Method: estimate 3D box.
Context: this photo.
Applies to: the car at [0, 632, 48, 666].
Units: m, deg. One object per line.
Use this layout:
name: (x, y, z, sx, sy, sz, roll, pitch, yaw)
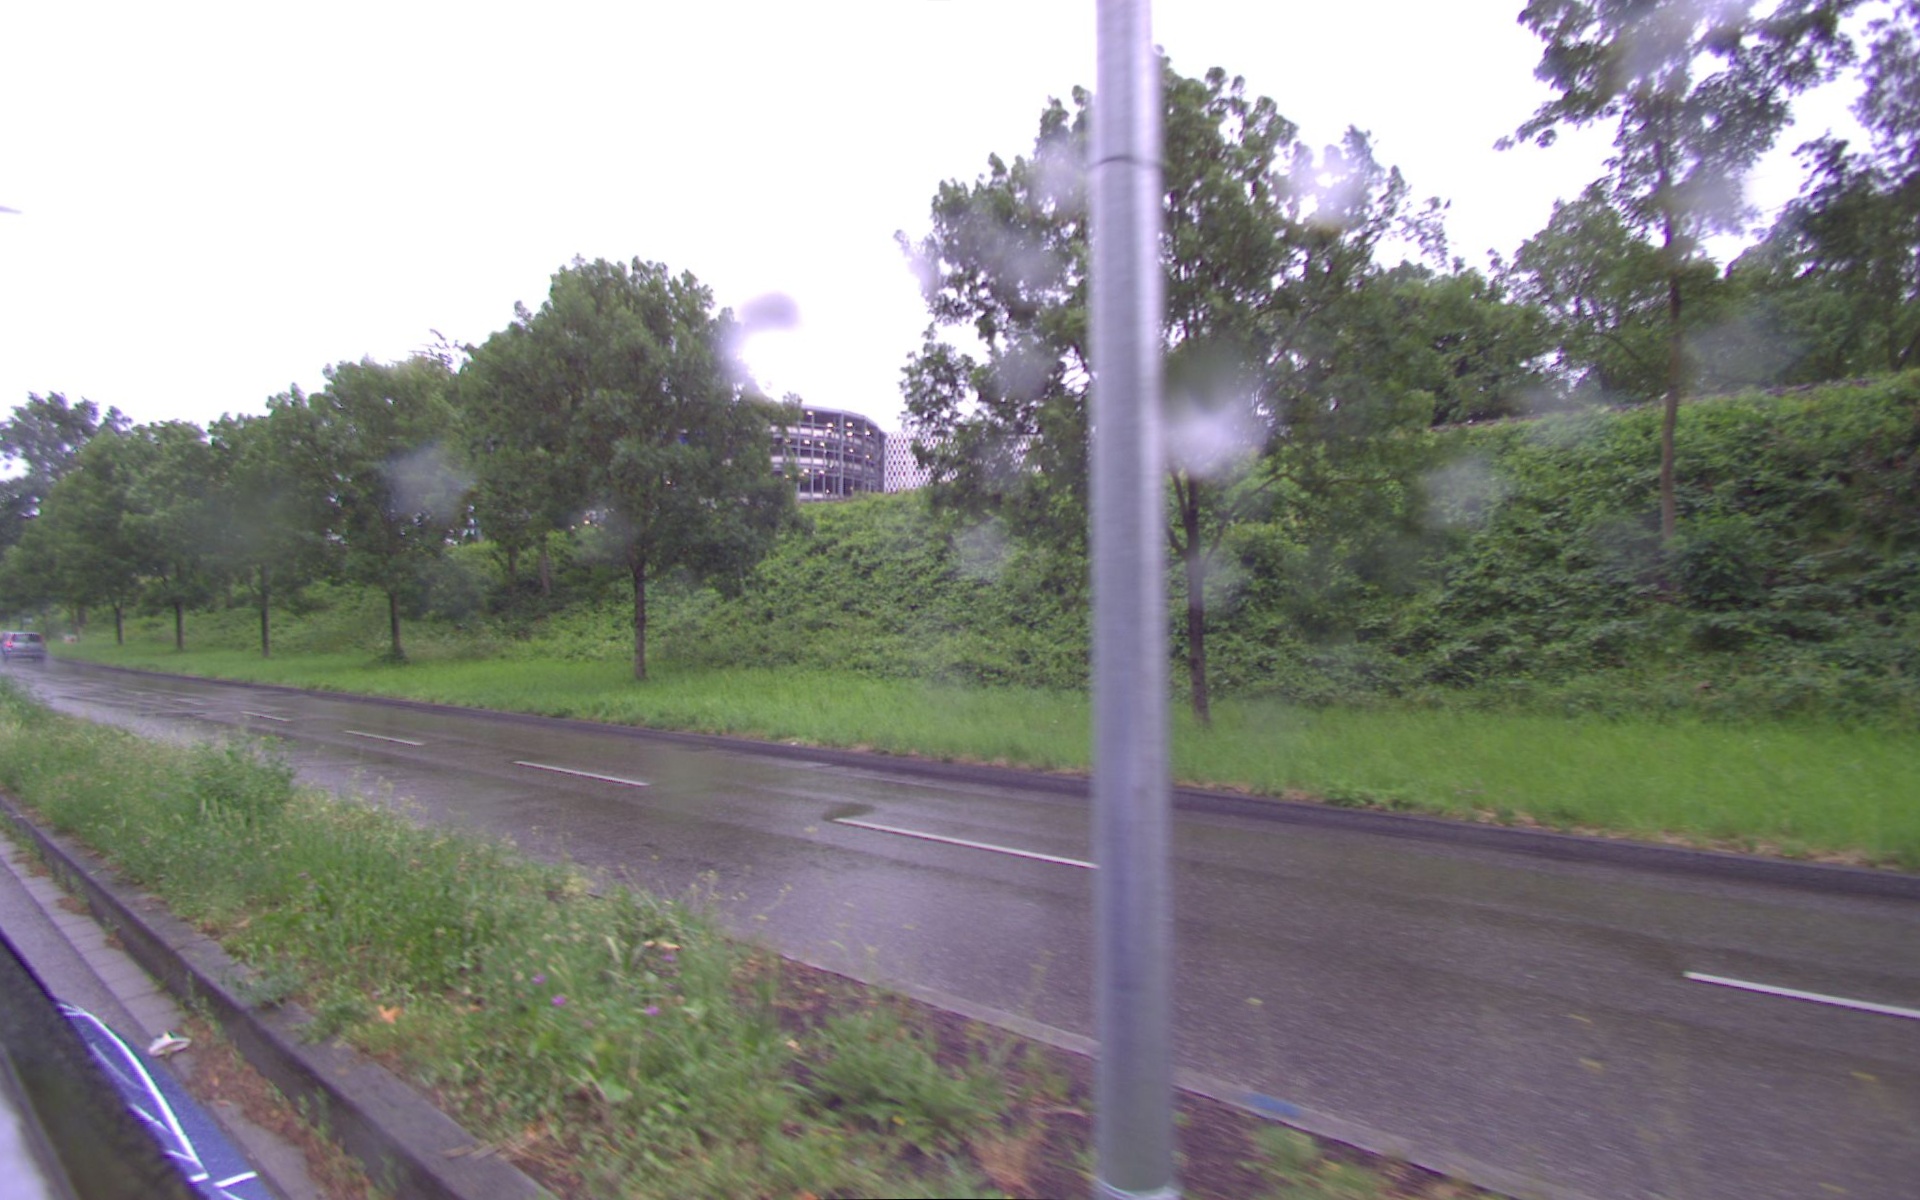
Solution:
car: (-48.575, 2.503, 52.328, 3.846, 1.630, 1.678, -1, -2, 42)
